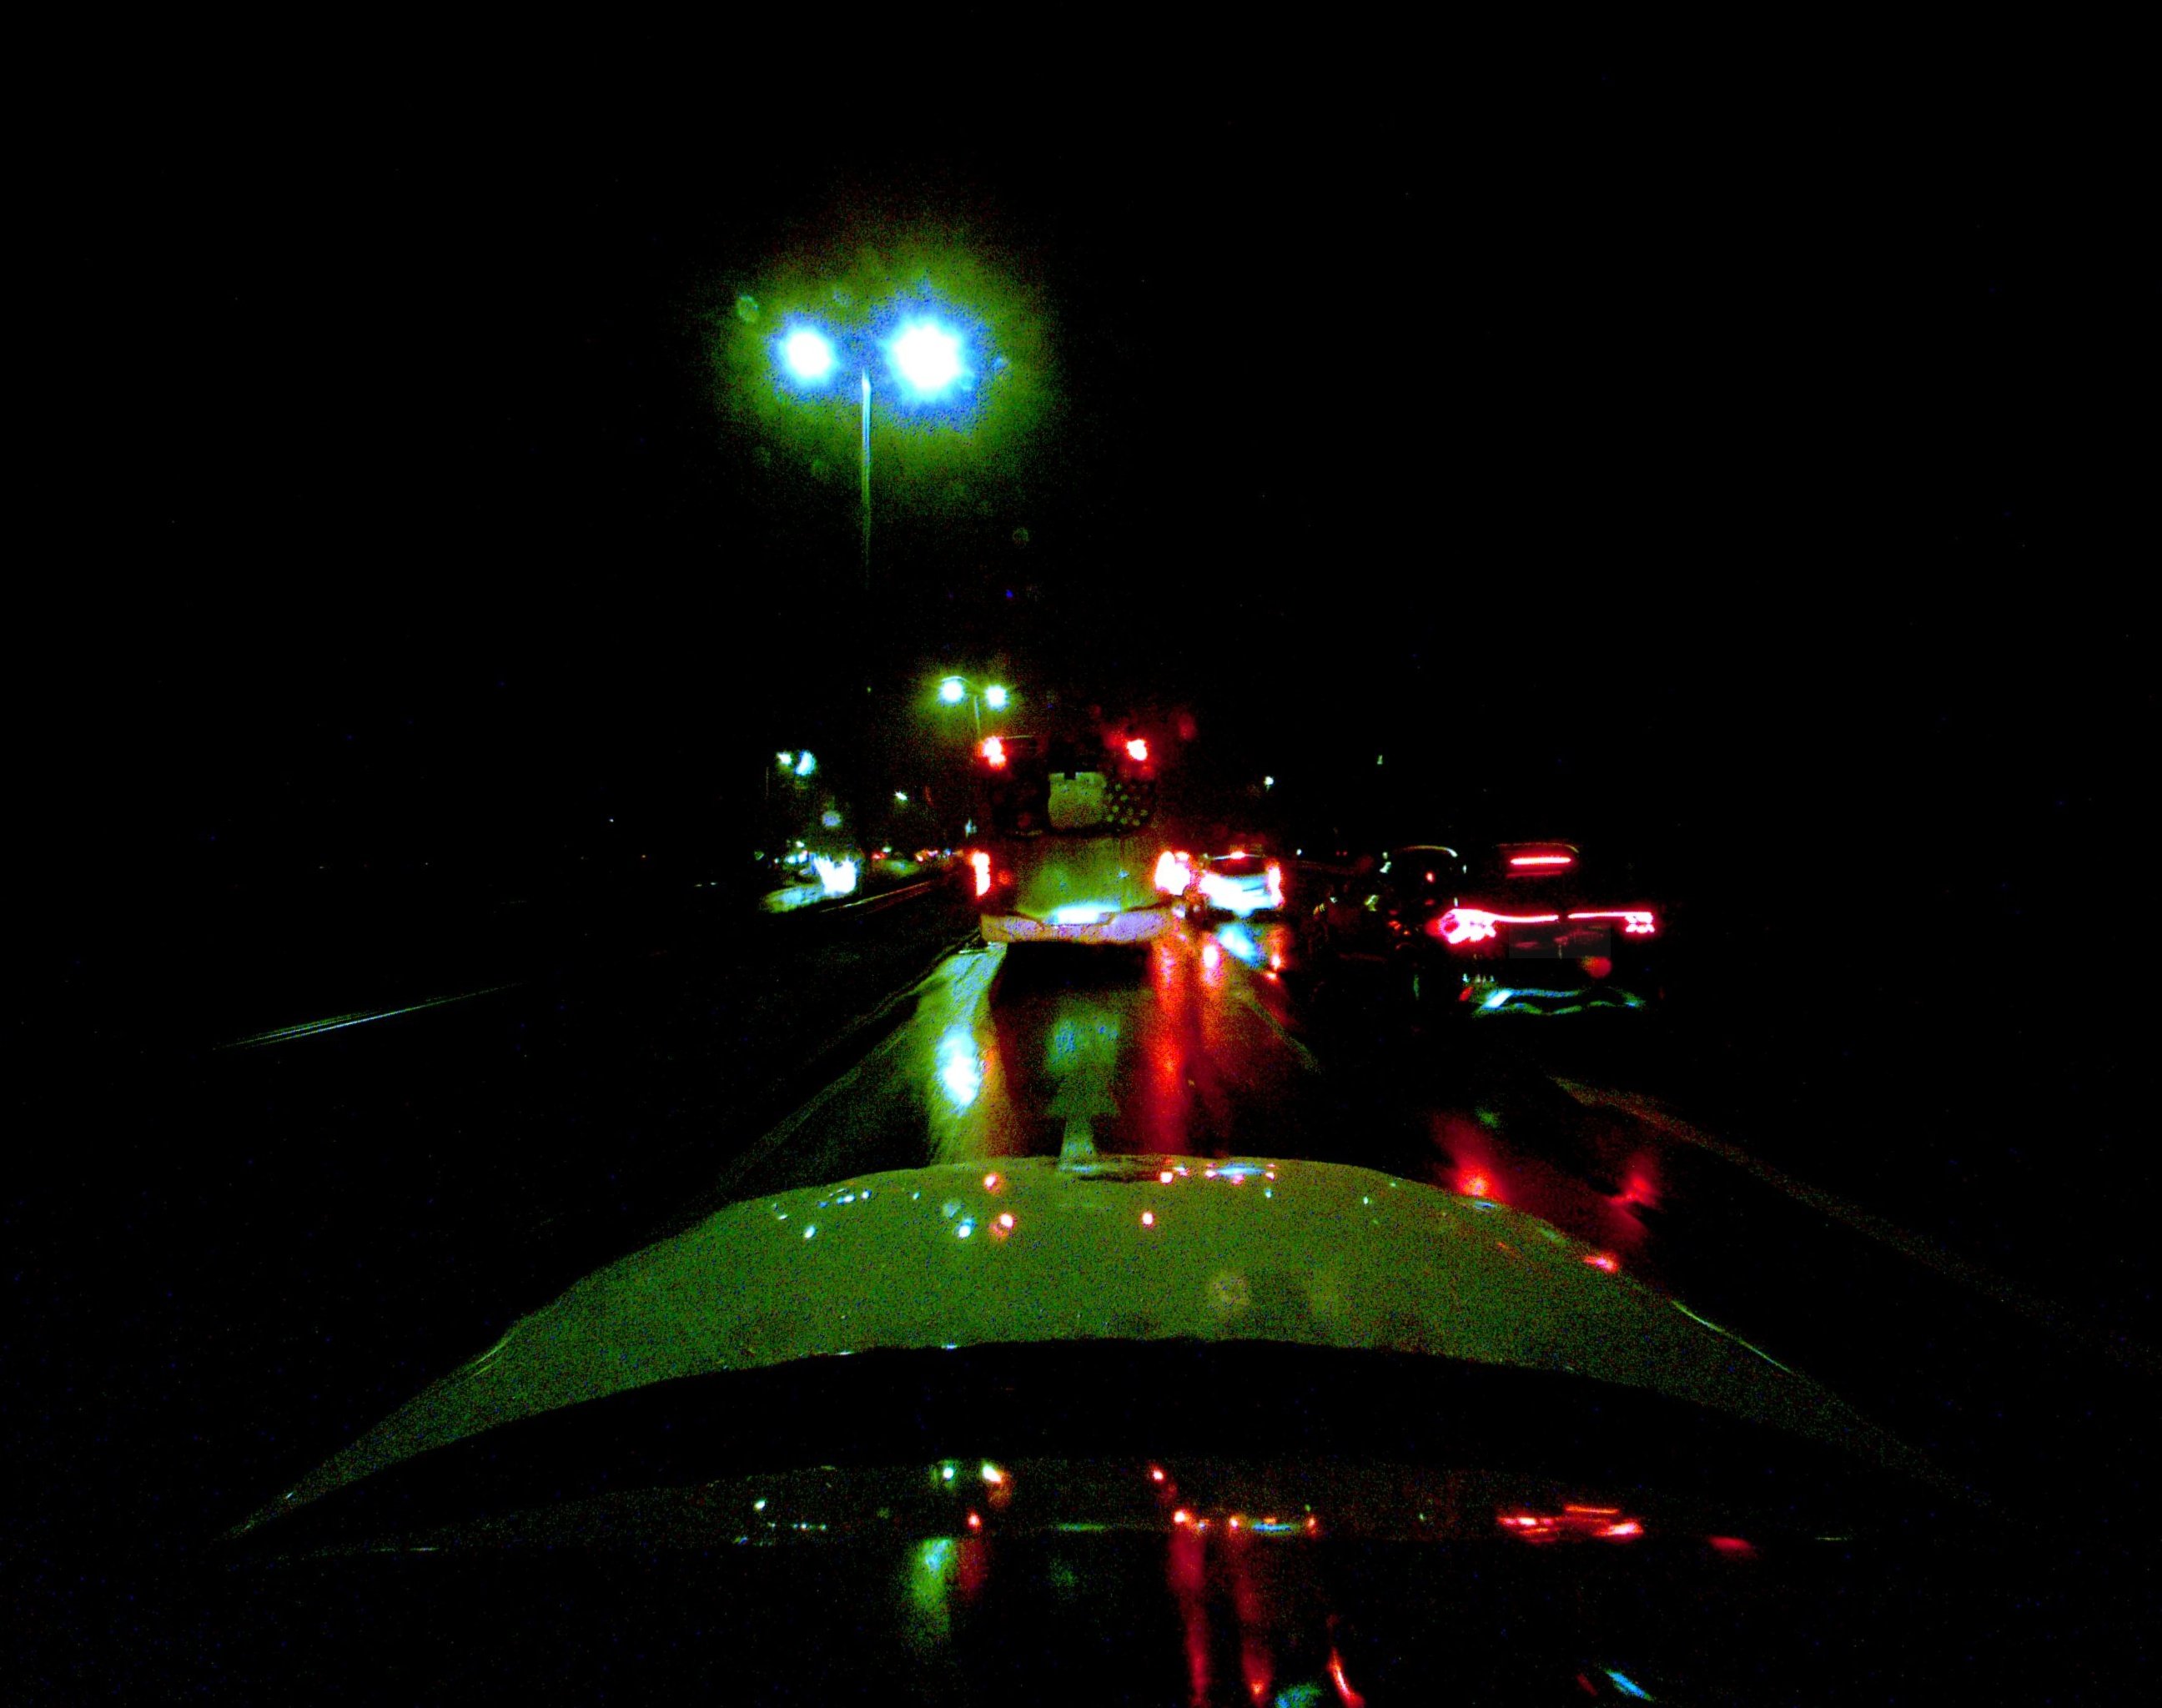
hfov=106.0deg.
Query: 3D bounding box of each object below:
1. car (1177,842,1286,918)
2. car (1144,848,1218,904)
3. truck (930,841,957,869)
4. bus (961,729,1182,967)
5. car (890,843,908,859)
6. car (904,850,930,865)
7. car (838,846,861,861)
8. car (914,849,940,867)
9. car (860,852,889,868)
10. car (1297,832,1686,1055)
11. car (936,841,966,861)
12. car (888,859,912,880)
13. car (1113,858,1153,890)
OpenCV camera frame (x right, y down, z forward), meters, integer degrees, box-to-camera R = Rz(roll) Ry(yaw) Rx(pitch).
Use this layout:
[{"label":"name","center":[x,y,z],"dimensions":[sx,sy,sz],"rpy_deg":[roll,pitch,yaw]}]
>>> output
[{"label":"car","center":[3.443,0.555,19.309],"dimensions":[1.814,1.590,3.775],"rpy_deg":[-1,0,-1]},{"label":"car","center":[3.075,0.644,25.671],"dimensions":[1.814,1.590,3.775],"rpy_deg":[-1,0,-1]},{"label":"truck","center":[-13.072,0.067,77.045],"dimensions":[1.860,2.392,4.752],"rpy_deg":[-2,3,-17]},{"label":"bus","center":[-0.049,-0.070,14.662],"dimensions":[2.805,3.024,8.688],"rpy_deg":[0,0,1]},{"label":"car","center":[-24.431,-0.420,109.551],"dimensions":[2.122,2.014,3.985],"rpy_deg":[1,-1,-10]},{"label":"car","center":[-18.416,0.432,91.284],"dimensions":[1.762,1.631,3.588],"rpy_deg":[1,-1,-31]},{"label":"car","center":[-31.598,-0.003,110.989],"dimensions":[2.007,2.014,3.959],"rpy_deg":[1,-1,-32]},{"label":"car","center":[-18.392,0.458,97.119],"dimensions":[2.005,2.013,3.964],"rpy_deg":[-1,0,-28]},{"label":"car","center":[-26.275,0.739,103.507],"dimensions":[2.229,2.013,3.955],"rpy_deg":[-1,0,-37]},{"label":"car","center":[3.402,0.638,7.635],"dimensions":[1.734,1.565,3.775],"rpy_deg":[0,0,-1]},{"label":"car","center":[-13.432,-0.292,83.866],"dimensions":[2.003,2.014,3.966],"rpy_deg":[1,-1,-25]},{"label":"car","center":[-18.856,1.591,84.551],"dimensions":[2.000,2.014,3.974],"rpy_deg":[-1,-1,-19]},{"label":"car","center":[2.556,0.956,40.839],"dimensions":[1.773,1.543,3.875],"rpy_deg":[0,0,1]}]
